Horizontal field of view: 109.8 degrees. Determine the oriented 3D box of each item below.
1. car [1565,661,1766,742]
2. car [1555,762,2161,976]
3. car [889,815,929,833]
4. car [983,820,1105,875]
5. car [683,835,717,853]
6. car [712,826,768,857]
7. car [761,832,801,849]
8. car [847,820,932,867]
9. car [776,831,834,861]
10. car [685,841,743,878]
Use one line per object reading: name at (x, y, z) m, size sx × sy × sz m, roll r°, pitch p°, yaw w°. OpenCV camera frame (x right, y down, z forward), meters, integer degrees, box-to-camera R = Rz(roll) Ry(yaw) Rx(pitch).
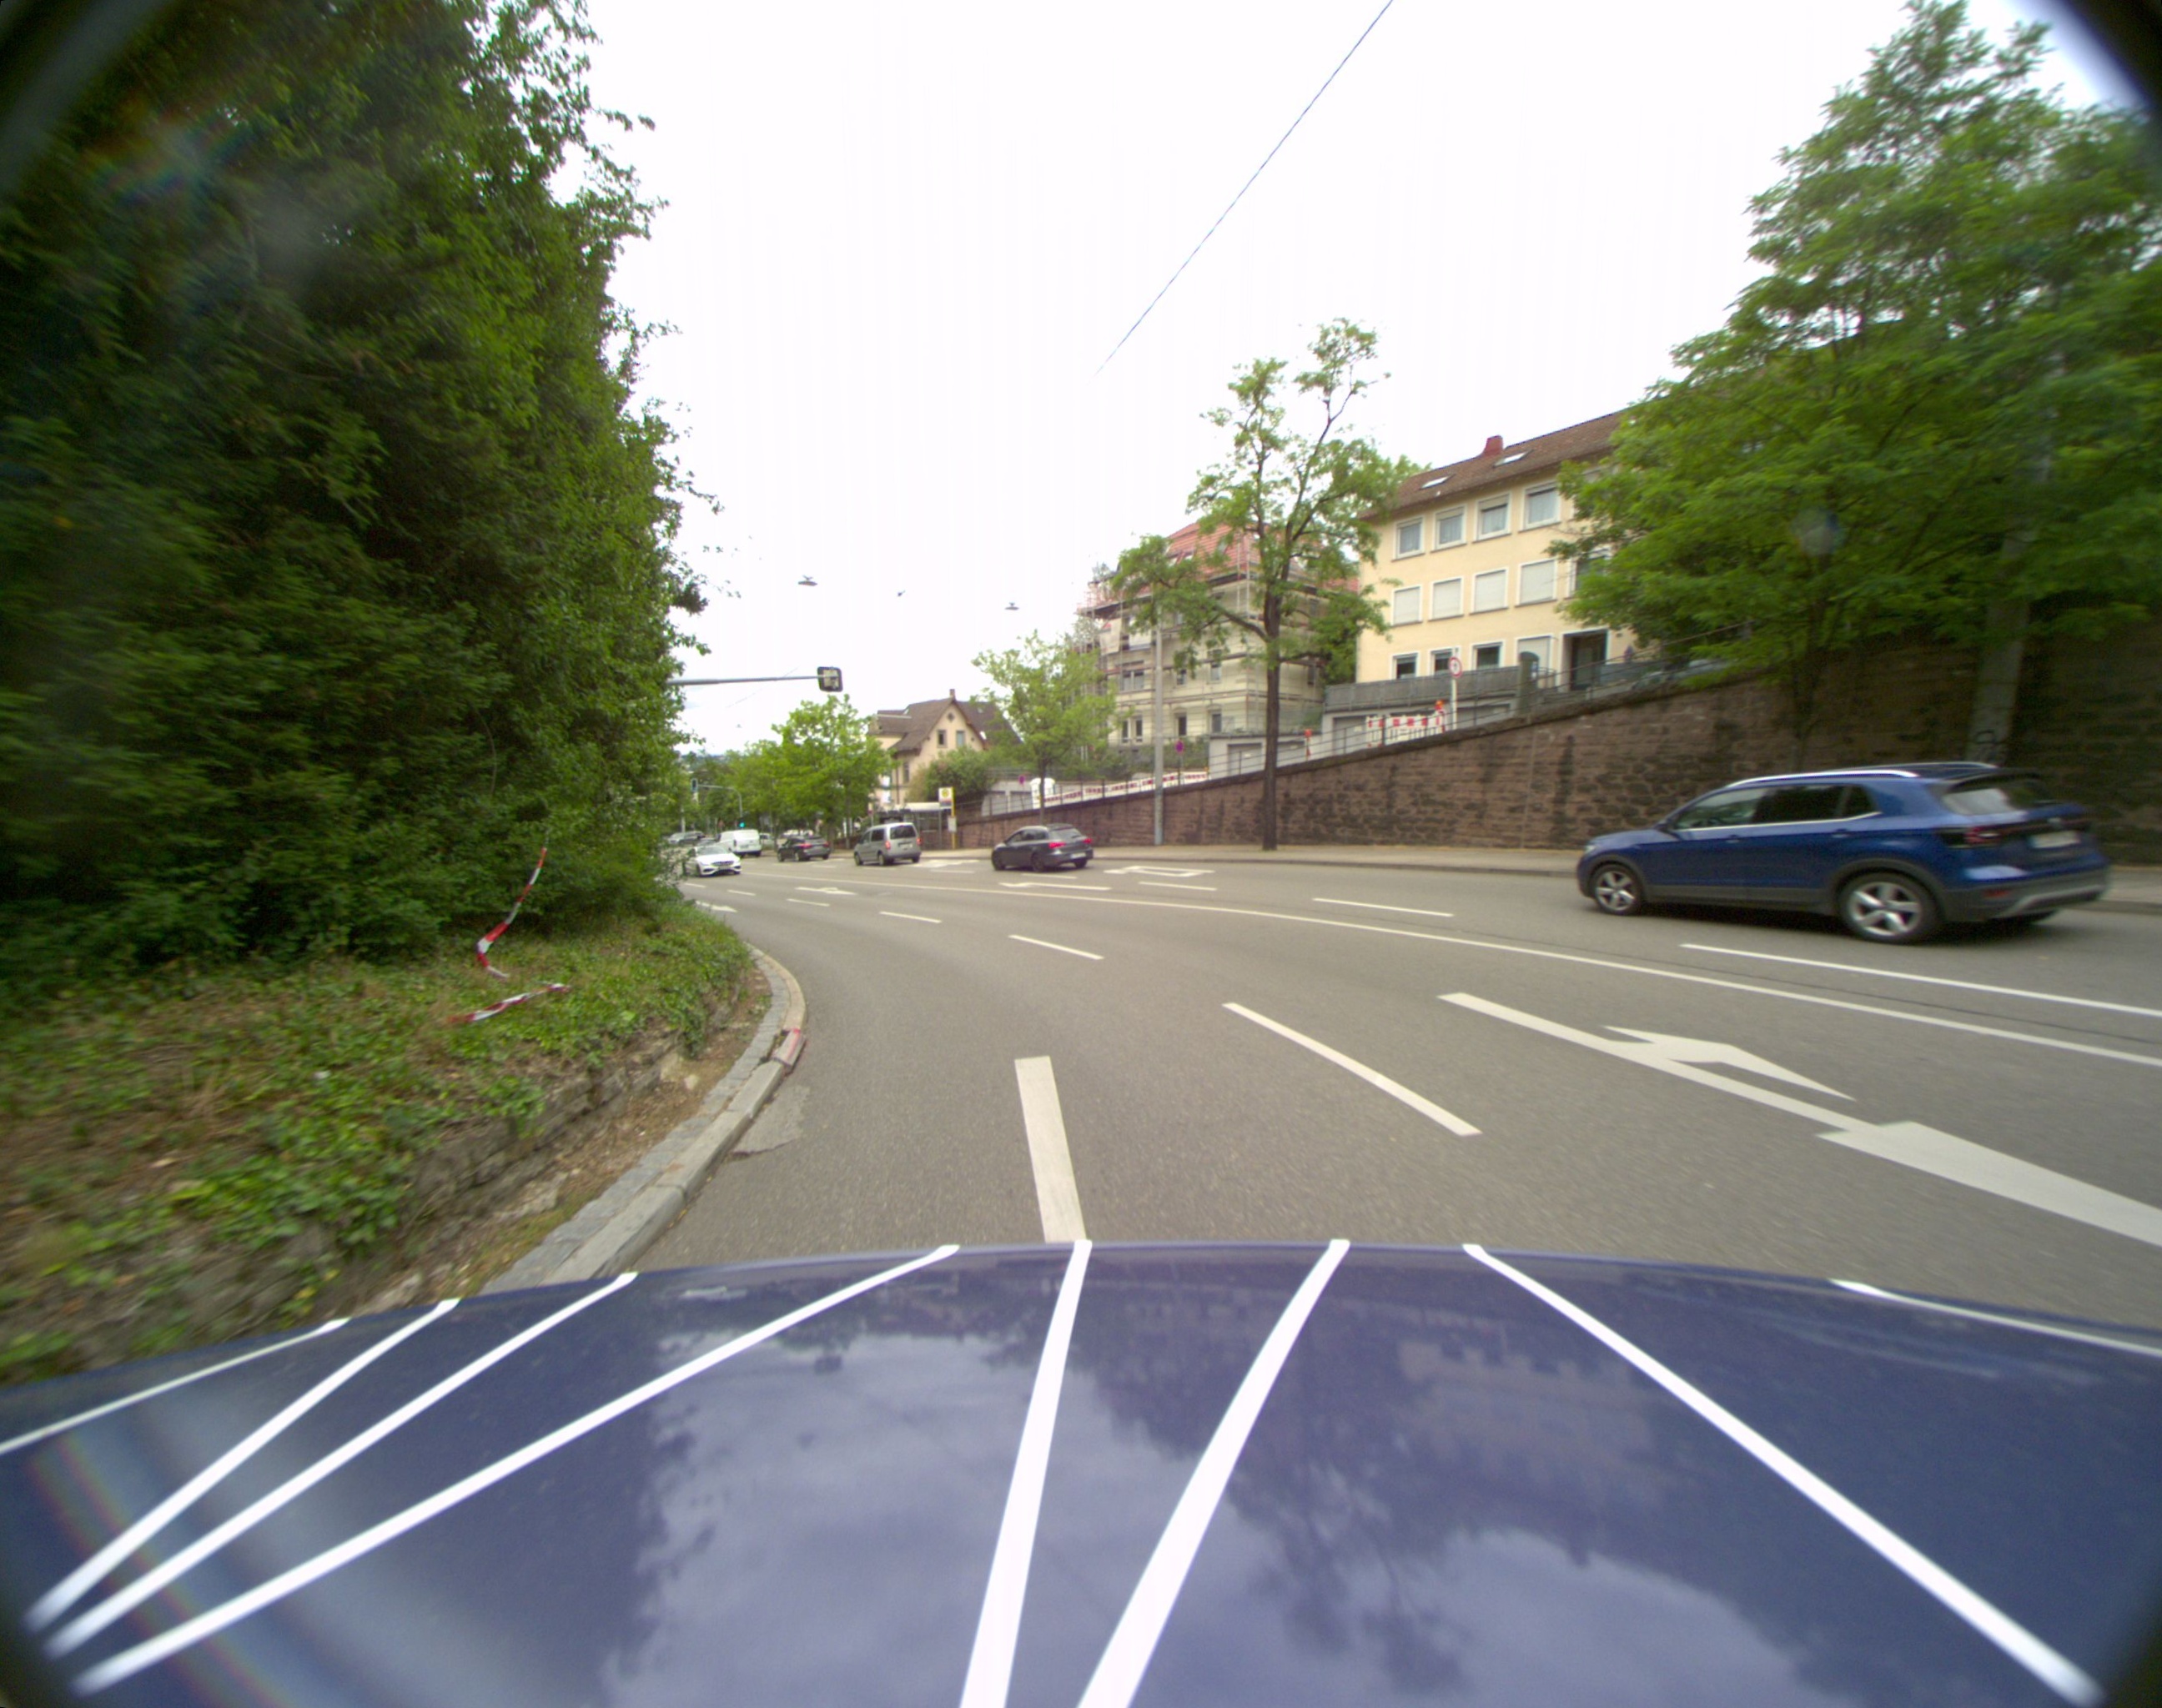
car at (16.034, -4.120, 21.087) m, size 1.776 × 1.631 × 4.054 m, roll -6°, pitch 5°, yaw -27°
car at (7.505, 0.054, 7.994) m, size 1.732 × 1.519 × 4.195 m, roll -5°, pitch 2°, yaw -13°
car at (-13.844, -2.429, 61.091) m, size 1.713 × 1.414 × 3.624 m, roll -3°, pitch 3°, yaw -39°
car at (-1.311, -0.258, 24.914) m, size 1.791 × 1.459 × 4.390 m, roll -10°, pitch 6°, yaw -35°
car at (-33.483, -0.891, 66.709) m, size 1.702 × 1.484 × 3.790 m, roll -7°, pitch 5°, yaw -40°
car at (-24.685, -0.878, 54.897) m, size 2.003 × 2.003 × 5.409 m, roll -8°, pitch 5°, yaw -40°
car at (-28.370, -1.264, 71.901) m, size 3.140 × 1.464 × 1.544 m, roll -4°, pitch 4°, yaw -39°
car at (-8.766, -0.477, 34.533) m, size 1.865 × 1.805 × 4.437 m, roll -9°, pitch 6°, yaw -39°
car at (-16.047, -0.474, 43.980) m, size 1.664 × 1.465 × 4.599 m, roll -8°, pitch 6°, yaw -38°
car at (-17.488, 0.210, 36.135) m, size 1.920 × 1.470 × 4.514 m, roll -7°, pitch 5°, yaw -31°
